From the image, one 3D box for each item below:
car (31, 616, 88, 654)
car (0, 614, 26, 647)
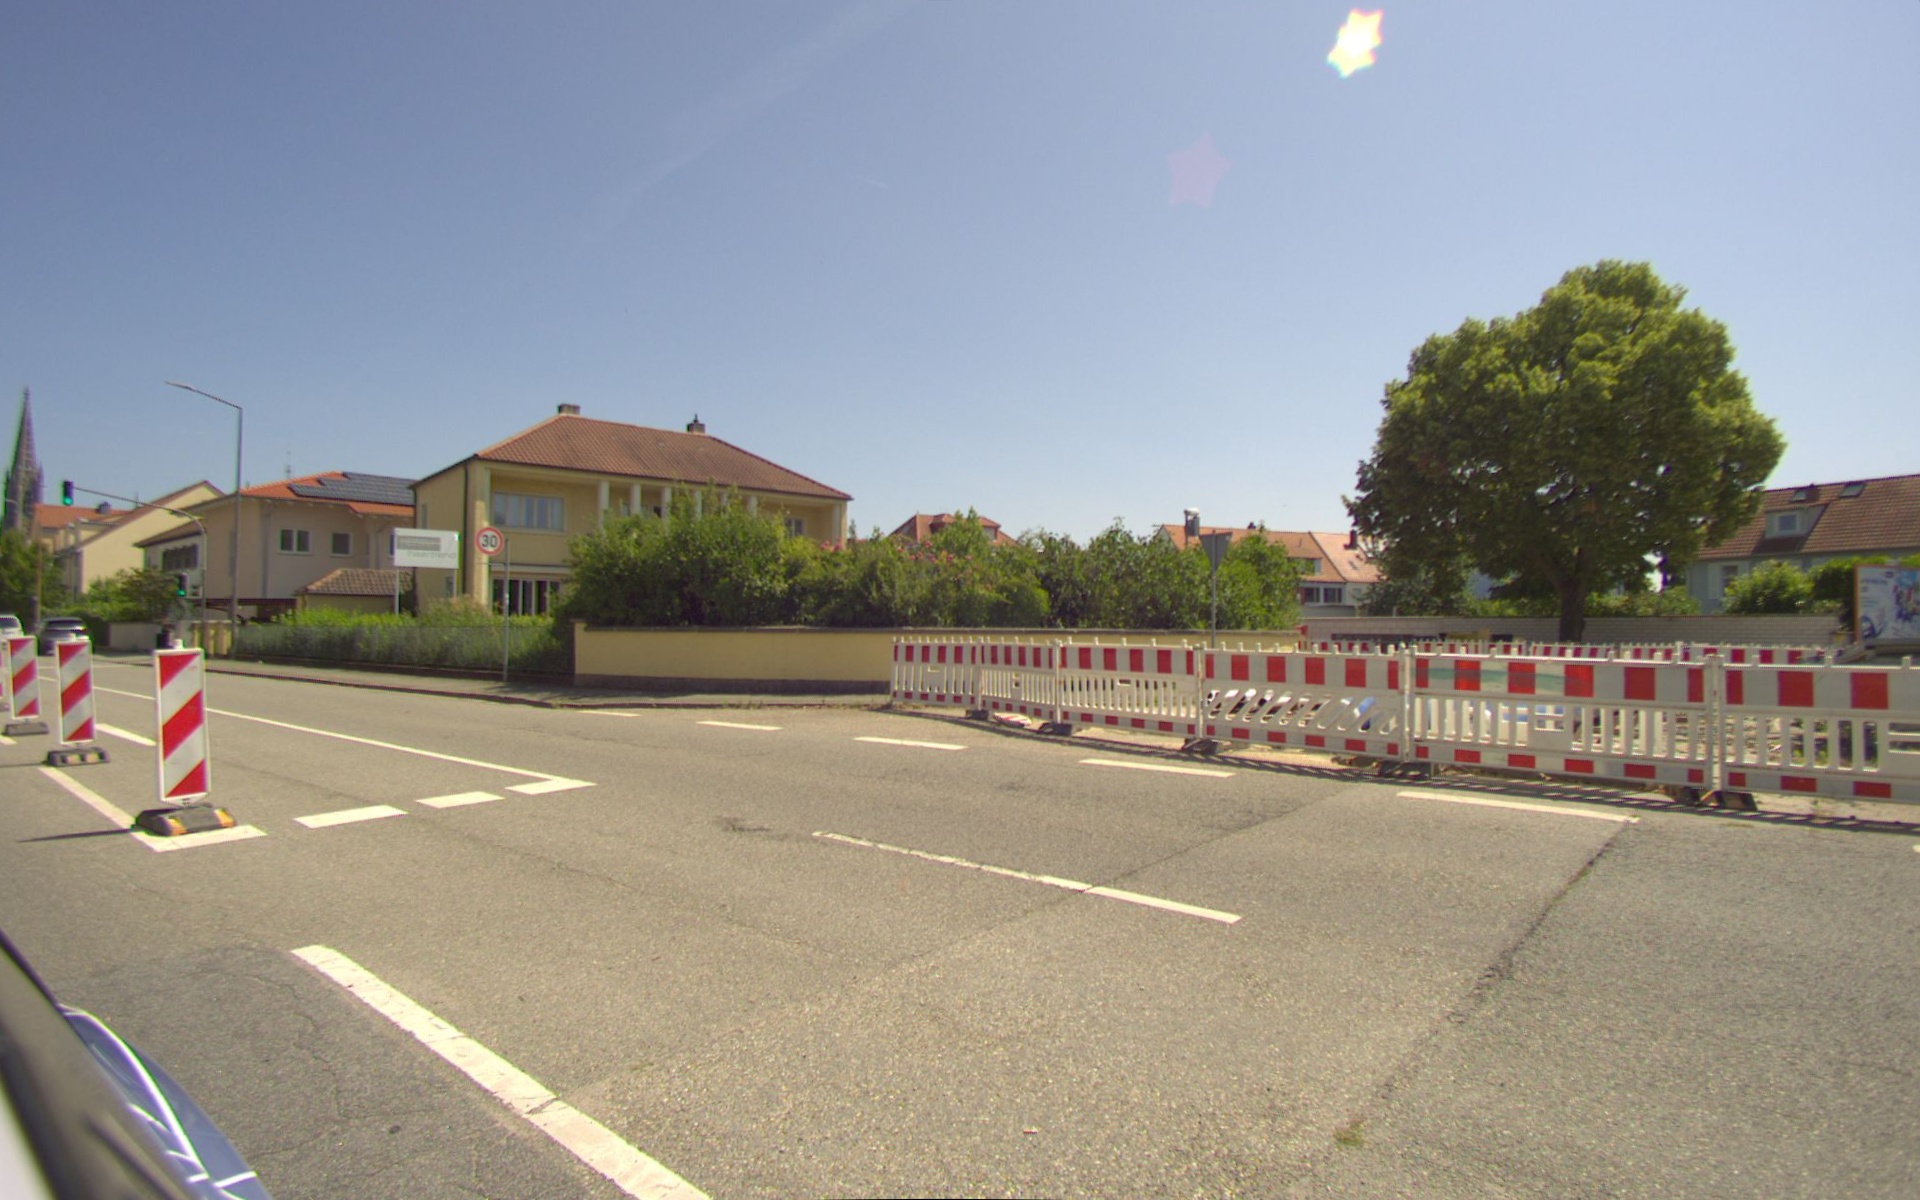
[{"bbox_3d":[-39.287,1.510,44.133,3.319,1.589,1.372,-1,-3,41],"label":"car"},{"bbox_3d":[-54.345,1.710,57.267,3.887,1.800,1.696,-1,-3,41],"label":"car"}]
